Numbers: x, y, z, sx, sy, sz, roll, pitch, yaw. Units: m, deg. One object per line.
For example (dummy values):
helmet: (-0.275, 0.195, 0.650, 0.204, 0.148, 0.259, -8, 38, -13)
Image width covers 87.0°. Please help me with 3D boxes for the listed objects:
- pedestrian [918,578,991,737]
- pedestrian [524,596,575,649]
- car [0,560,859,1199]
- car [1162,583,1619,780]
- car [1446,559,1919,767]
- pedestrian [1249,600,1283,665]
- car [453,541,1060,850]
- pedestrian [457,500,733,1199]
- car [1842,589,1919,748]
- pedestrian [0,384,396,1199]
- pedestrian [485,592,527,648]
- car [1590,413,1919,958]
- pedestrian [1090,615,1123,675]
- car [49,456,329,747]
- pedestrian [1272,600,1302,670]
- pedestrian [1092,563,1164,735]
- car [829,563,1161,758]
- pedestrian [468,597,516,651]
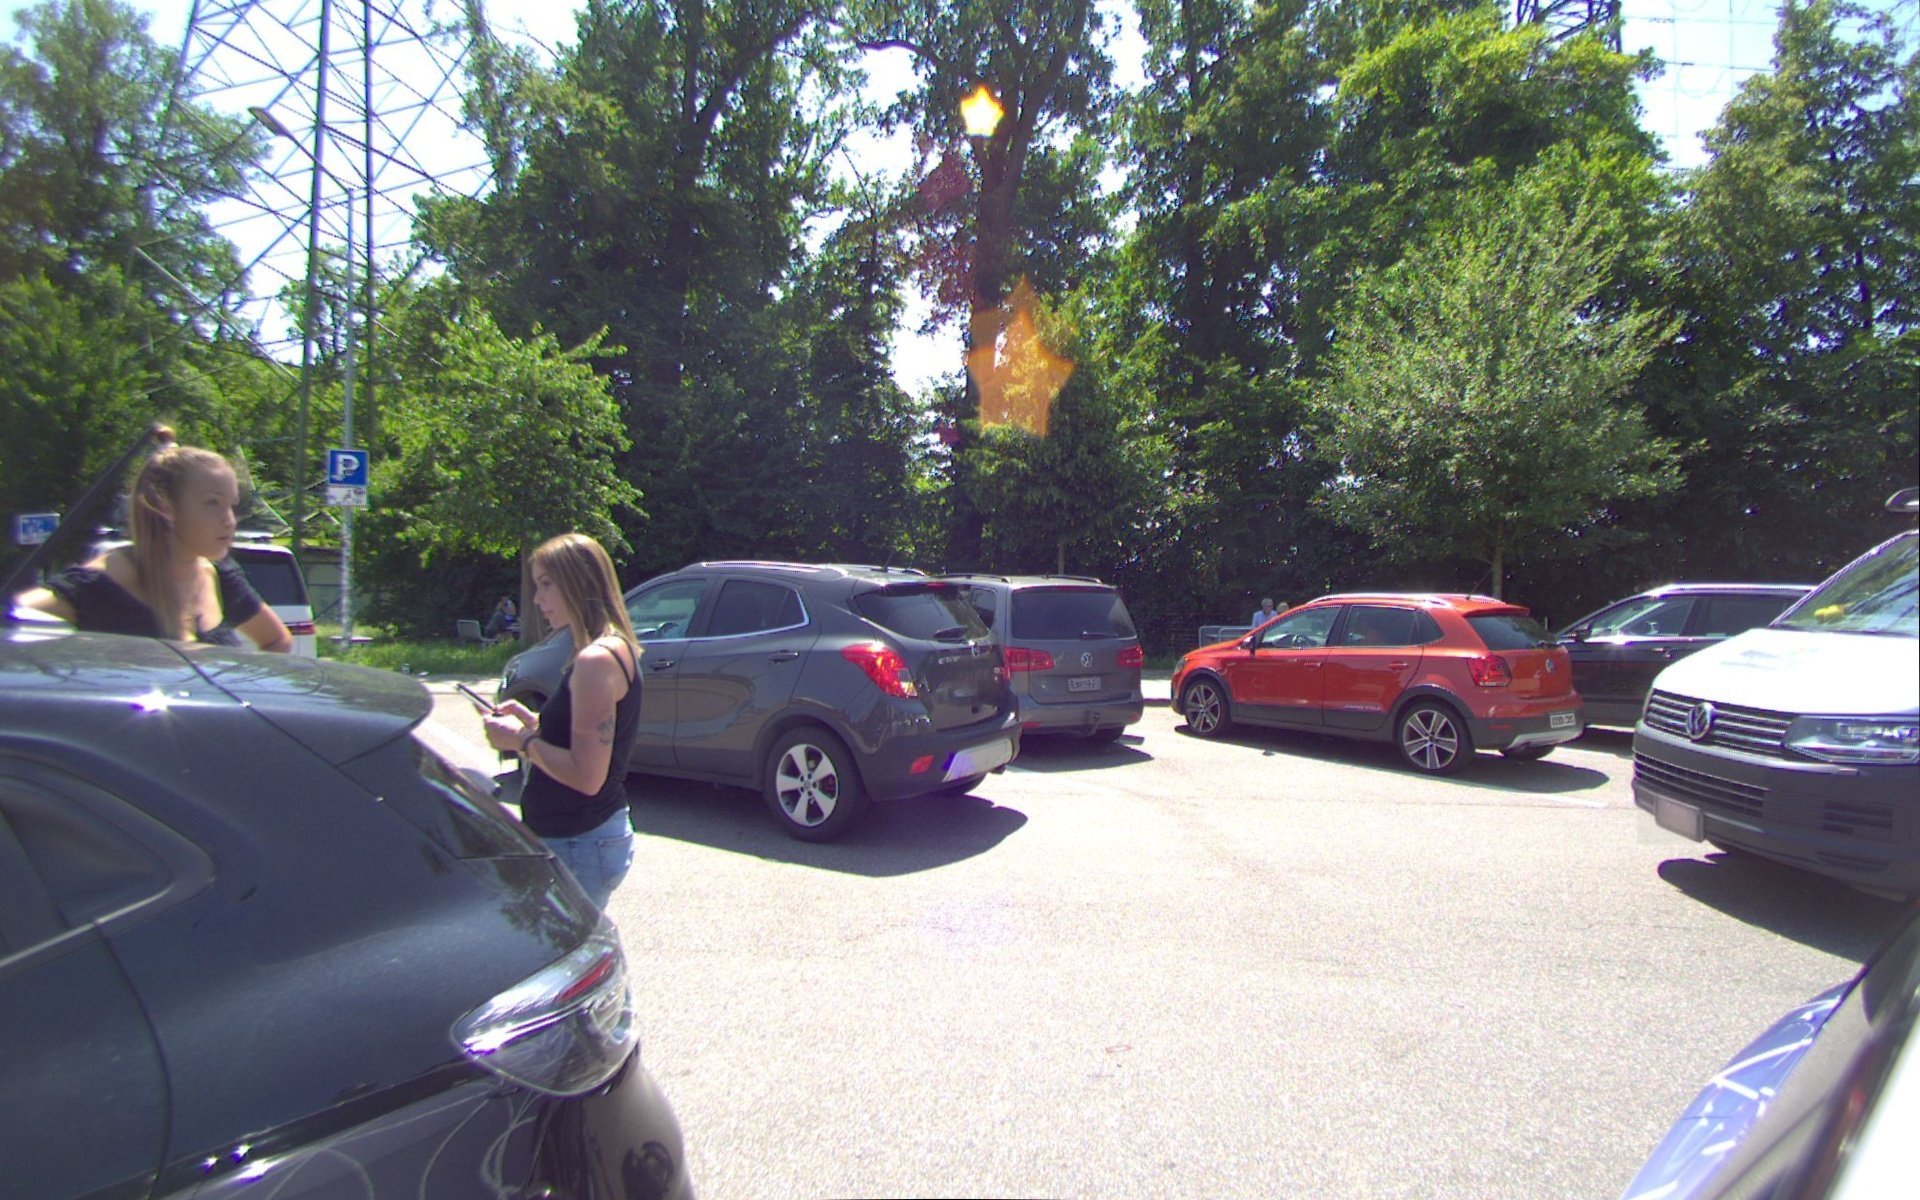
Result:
pedestrian: (-0.059, 0.548, 10.048, 0.511, 1.516, 0.560, 0, 0, -30)
pedestrian: (-9.591, 0.508, 23.651, 0.810, 1.201, 0.836, 0, 0, 40)
car: (-2.034, 0.712, 0.802, 1.776, 1.476, 3.627, 0, 1, 44)
car: (3.863, 0.615, 9.653, 1.588, 1.485, 3.751, 1, 0, -34)
car: (7.066, 0.496, 9.860, 1.679, 1.637, 3.863, 1, 0, -40)
pedestrian: (5.760, 0.598, 19.042, 0.433, 1.207, 0.414, 0, 0, -30)
car: (-1.544, 0.491, 7.240, 4.134, 1.637, 1.818, 1, 0, 31)
pedestrian: (-0.943, 0.583, 2.613, 0.477, 1.614, 0.502, 2, -1, -44)
car: (10.394, 0.652, 8.832, 1.813, 1.473, 3.776, 1, 0, -36)
pedestrian: (-1.859, 0.510, 2.487, 0.477, 1.883, 0.913, 1, -1, -6)
pedestrian: (-11.003, 0.465, 24.519, 0.539, 1.318, 0.758, 0, 0, 37)
car: (6.242, 0.353, 4.692, 5.336, 2.131, 1.842, 1, 1, 4)
pedestrian: (2.283, 0.691, 15.749, 0.494, 0.890, 0.512, 1, -1, 10)
car: (-8.394, 0.001, 10.810, 1.897, 2.400, 4.963, 1, -1, -43)
pedestrian: (5.762, 0.608, 17.851, 0.348, 1.207, 0.367, 0, 0, -20)
pedestrian: (1.753, 0.492, 10.585, 0.576, 1.744, 0.483, 0, 0, -20)
car: (0.160, 0.496, 10.618, 1.670, 1.637, 3.912, 0, 0, -30)
pedestrian: (-10.495, 0.530, 22.693, 0.785, 1.178, 0.696, 0, 0, 39)
